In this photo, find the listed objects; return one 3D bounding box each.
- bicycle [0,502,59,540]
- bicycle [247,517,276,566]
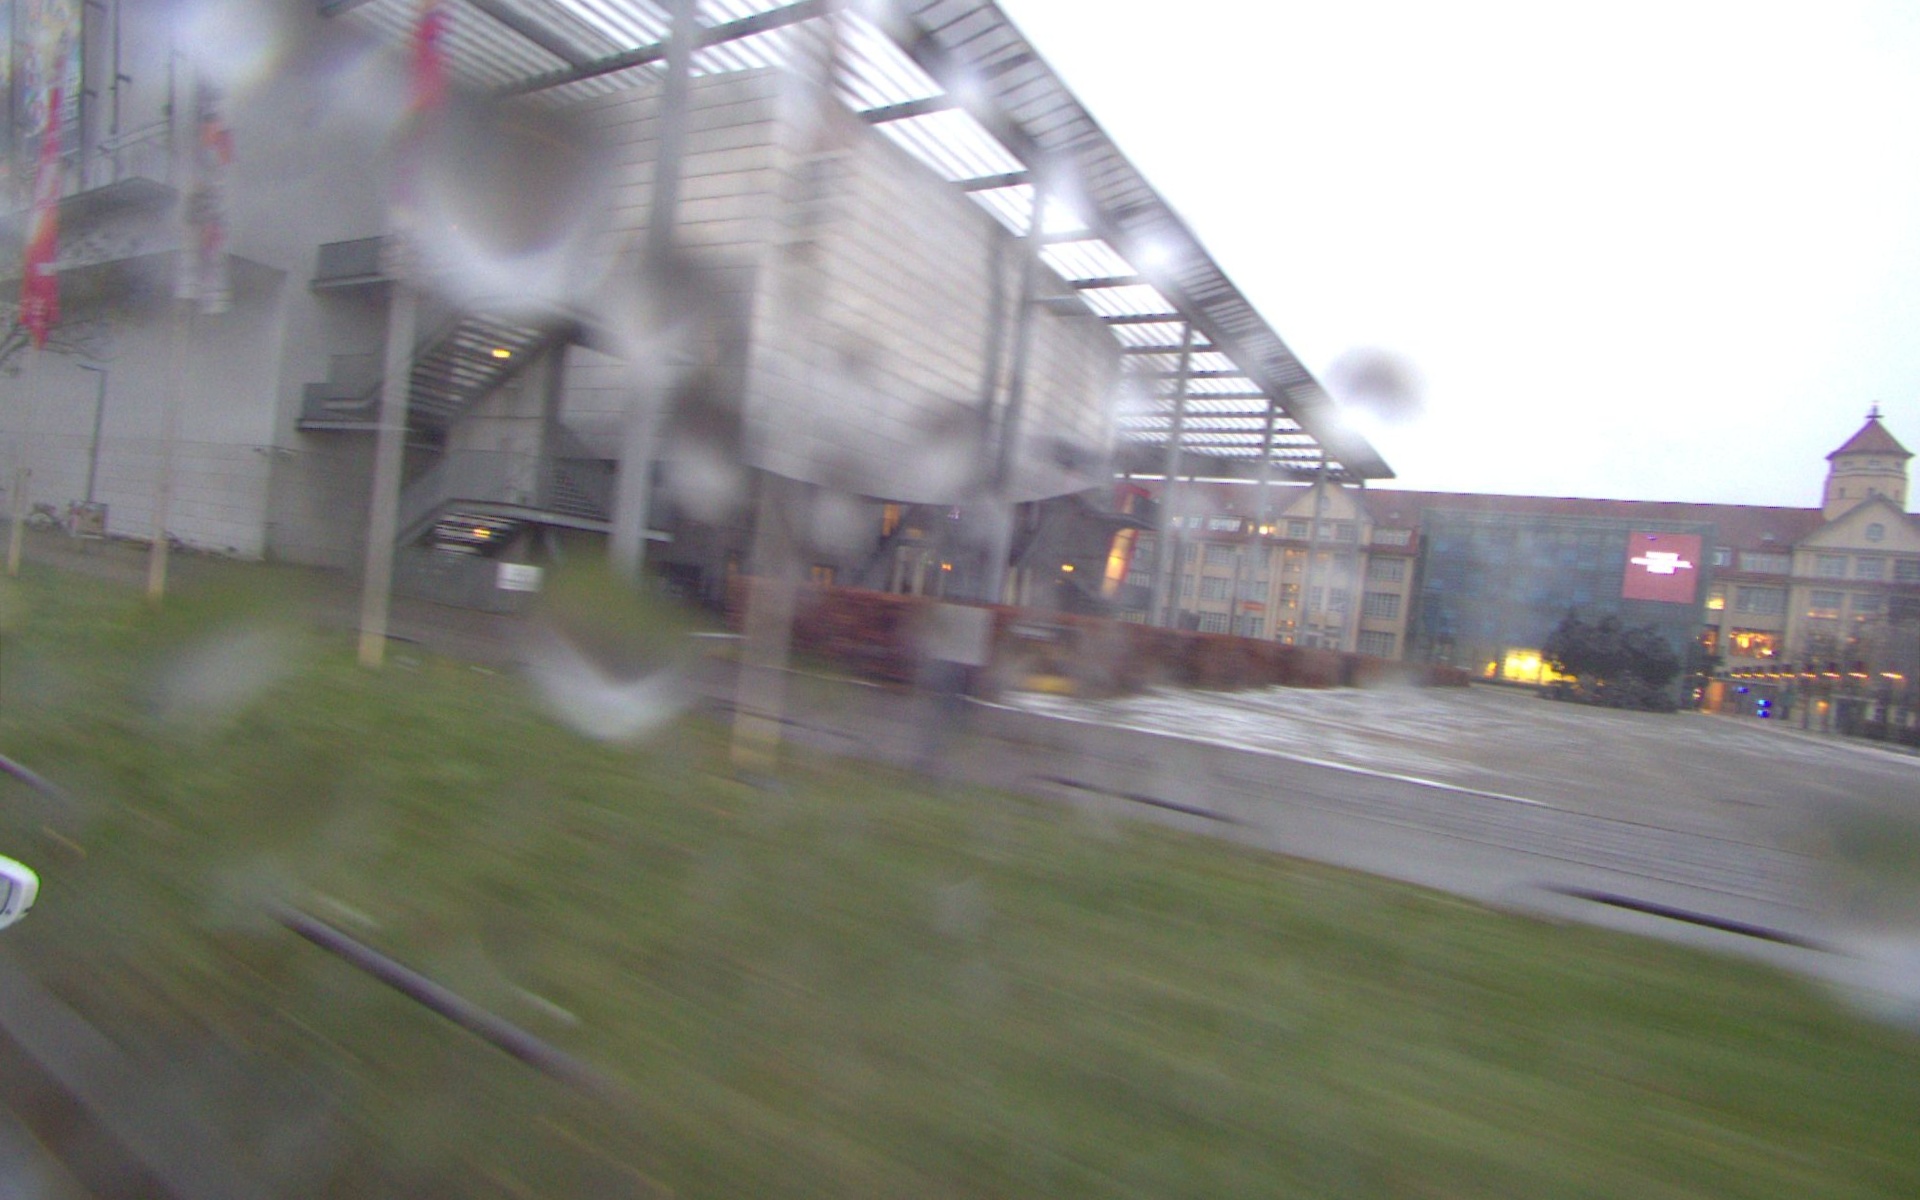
[{"bbox_3d":[-31.074,-2.627,33.255,0.390,1.065,1.811,7,1,30],"label":"bicycle"},{"bbox_3d":[-19.676,-1.637,28.365,0.407,1.299,1.730,8,-1,-31],"label":"bicycle"}]
